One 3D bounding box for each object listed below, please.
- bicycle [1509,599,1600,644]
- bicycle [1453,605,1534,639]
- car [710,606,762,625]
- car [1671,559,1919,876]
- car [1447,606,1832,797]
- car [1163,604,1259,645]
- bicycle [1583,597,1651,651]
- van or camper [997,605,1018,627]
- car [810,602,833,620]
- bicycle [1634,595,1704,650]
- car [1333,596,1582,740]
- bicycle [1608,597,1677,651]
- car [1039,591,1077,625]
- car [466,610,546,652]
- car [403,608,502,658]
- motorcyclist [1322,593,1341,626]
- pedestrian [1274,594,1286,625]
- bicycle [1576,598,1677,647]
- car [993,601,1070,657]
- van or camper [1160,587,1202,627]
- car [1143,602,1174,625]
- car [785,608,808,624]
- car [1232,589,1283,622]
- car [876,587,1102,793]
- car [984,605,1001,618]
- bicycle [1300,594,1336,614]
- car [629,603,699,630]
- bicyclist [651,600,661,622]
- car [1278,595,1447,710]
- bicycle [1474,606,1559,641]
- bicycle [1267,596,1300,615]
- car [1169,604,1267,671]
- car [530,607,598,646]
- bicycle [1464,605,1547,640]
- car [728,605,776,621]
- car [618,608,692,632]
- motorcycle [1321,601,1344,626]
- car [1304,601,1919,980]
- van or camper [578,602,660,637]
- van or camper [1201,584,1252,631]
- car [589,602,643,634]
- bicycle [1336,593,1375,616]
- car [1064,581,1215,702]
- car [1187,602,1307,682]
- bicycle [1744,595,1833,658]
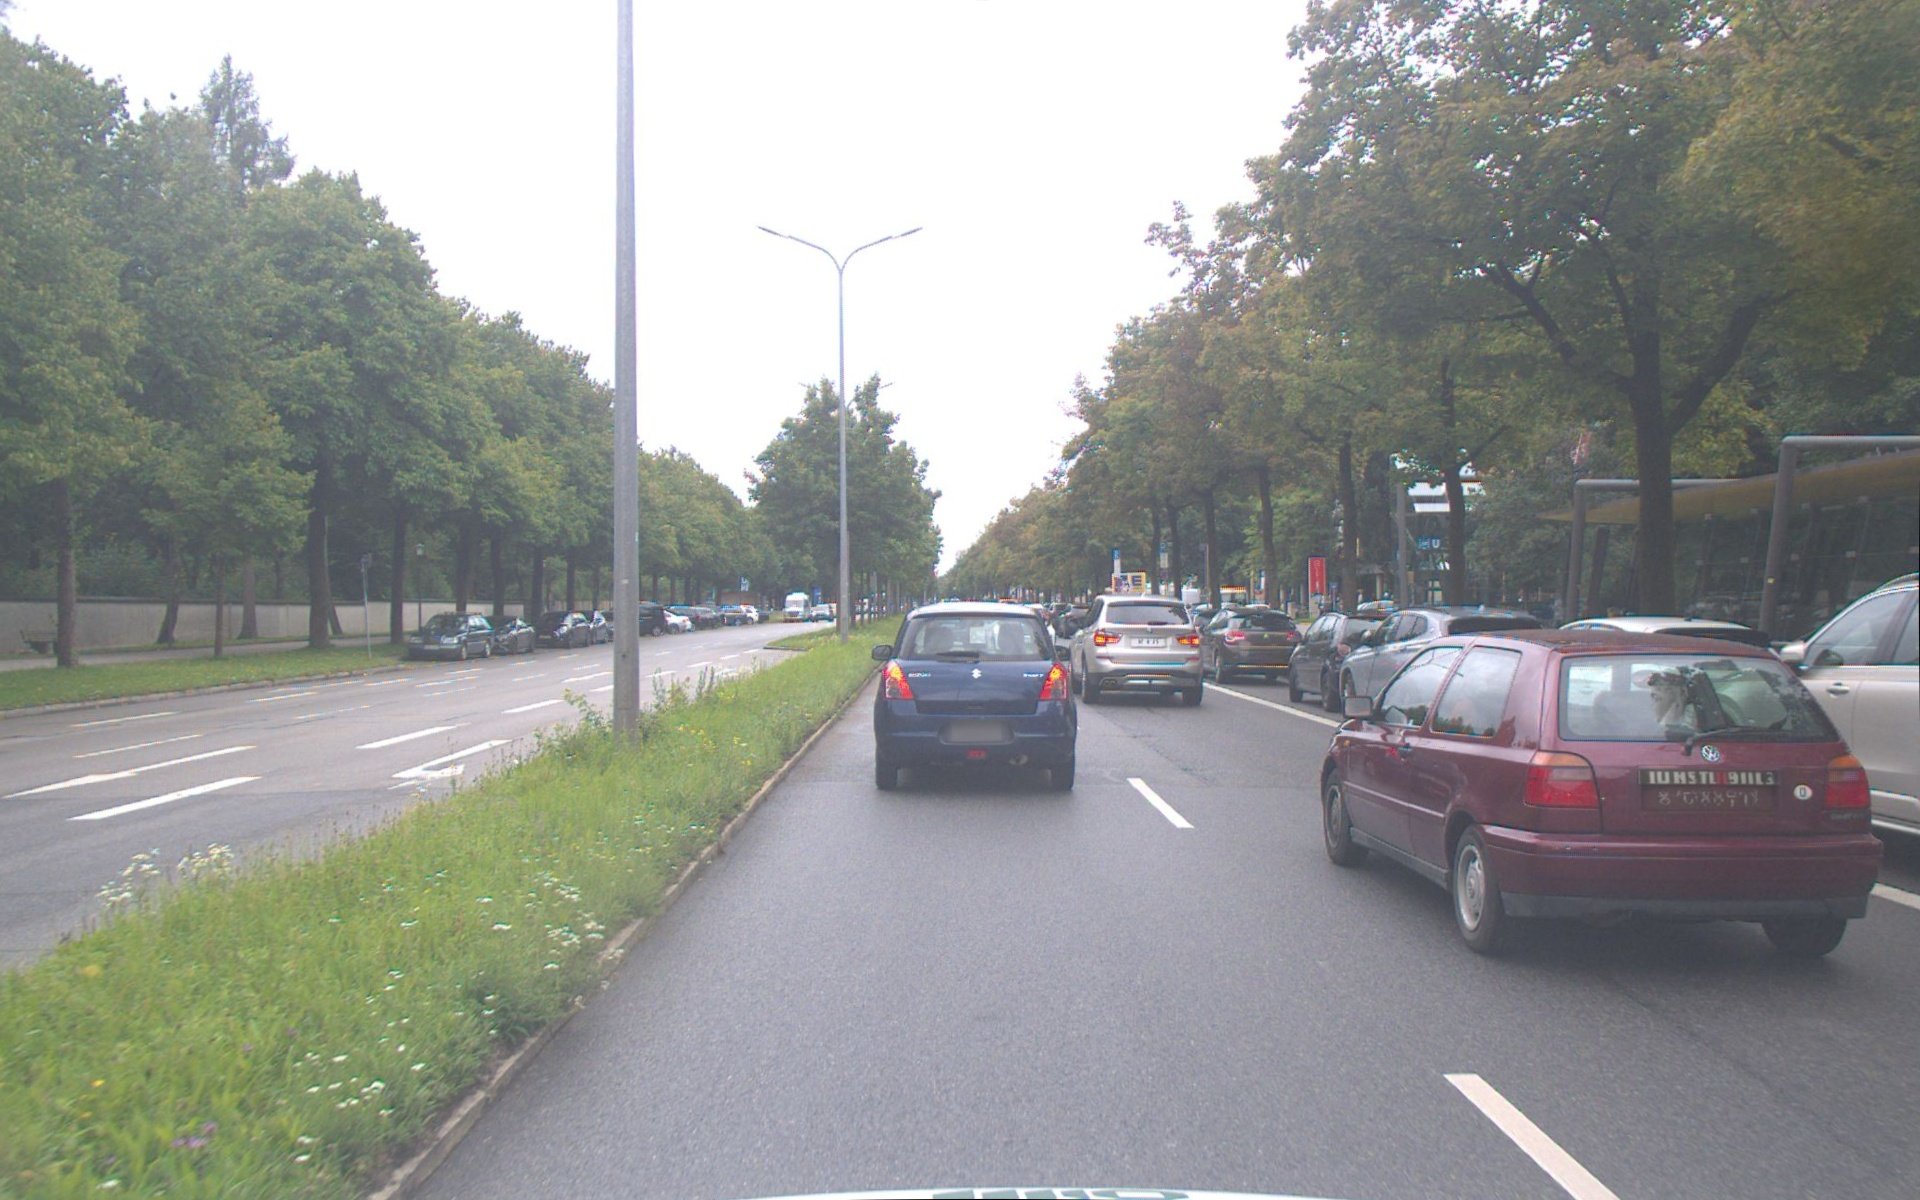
[{"bbox_3d":[17.657,0.626,49.157,2.490,1.303,0.647,0,0,-1],"label":"bicycle"},{"bbox_3d":[17.743,0.743,55.031,2.490,1.108,0.647,0,0,-1],"label":"bicycle"},{"bbox_3d":[-19.258,1.345,142.079,4.059,1.612,1.896,0,0,-34],"label":"car"},{"bbox_3d":[6.167,0.652,9.860,1.712,1.754,4.905,1,0,0],"label":"car"},{"bbox_3d":[6.173,0.828,15.644,1.667,1.534,4.502,0,0,-2],"label":"car"},{"bbox_3d":[10.523,0.989,69.000,1.935,1.653,4.826,-1,-1,37],"label":"car"},{"bbox_3d":[16.303,0.581,41.117,0.632,1.303,2.550,0,0,-1],"label":"bicycle"},{"bbox_3d":[4.464,1.474,155.721,1.905,2.009,4.306,0,0,0],"label":"van or camper"},{"bbox_3d":[-12.636,1.013,150.600,1.874,1.569,4.186,-1,0,-2],"label":"car"},{"bbox_3d":[17.622,0.550,41.176,0.632,1.303,2.550,0,0,-1],"label":"bicycle"},{"bbox_3d":[5.962,0.756,20.374,1.685,1.561,4.398,1,0,-1],"label":"car"},{"bbox_3d":[16.965,0.592,41.151,0.632,1.303,2.550,0,0,-1],"label":"bicycle"},{"bbox_3d":[5.105,0.434,86.516,1.725,1.730,4.819,0,0,0],"label":"car"},{"bbox_3d":[-16.448,1.106,60.083,1.625,1.420,4.706,1,0,-1],"label":"car"},{"bbox_3d":[-16.562,1.034,54.181,1.762,1.516,4.914,1,0,-1],"label":"car"},{"bbox_3d":[20.549,0.524,91.574,0.677,1.767,0.953,-5,0,-1],"label":"motorcyclist"},{"bbox_3d":[18.891,0.560,97.607,0.563,1.782,0.732,0,-1,4],"label":"pedestrian"},{"bbox_3d":[18.118,0.604,44.983,2.490,1.303,0.647,0,0,-1],"label":"bicycle"},{"bbox_3d":[1.927,0.767,45.660,1.813,1.472,4.096,0,0,-2],"label":"car"},{"bbox_3d":[14.993,0.478,112.368,1.983,2.603,5.956,-1,0,0],"label":"van or camper"},{"bbox_3d":[14.855,1.000,123.846,1.650,1.661,4.496,0,0,-2],"label":"car"},{"bbox_3d":[-15.790,1.524,159.726,1.874,1.569,4.186,-1,0,-2],"label":"car"},{"bbox_3d":[15.662,0.276,87.268,1.953,1.680,3.999,-1,0,0],"label":"car"},{"bbox_3d":[0.151,0.705,14.843,1.753,1.583,3.998,0,0,-2],"label":"car"},{"bbox_3d":[3.813,1.323,194.094,1.813,1.472,4.096,0,0,-2],"label":"car"},{"bbox_3d":[27.556,0.327,127.249,2.560,1.534,0.797,-1,0,-7],"label":"bicycle"},{"bbox_3d":[-19.110,1.052,106.764,4.069,1.625,1.891,0,0,-40],"label":"car"},{"bbox_3d":[-24.873,0.898,135.272,0.690,1.777,0.922,0,0,-1],"label":"bicyclist"},{"bbox_3d":[6.132,0.755,25.617,1.511,1.561,4.090,3,0,-1],"label":"car"},{"bbox_3d":[17.750,0.741,52.742,2.490,1.108,0.647,0,0,-1],"label":"bicycle"},{"bbox_3d":[26.609,0.453,136.050,2.560,1.534,0.797,-1,0,-7],"label":"bicycle"},{"bbox_3d":[5.960,0.841,38.631,1.601,1.479,4.077,0,0,-1],"label":"car"},{"bbox_3d":[-16.363,1.062,68.509,1.538,1.529,4.305,1,0,3],"label":"car"},{"bbox_3d":[17.733,0.743,53.812,2.490,1.108,0.647,0,0,-1],"label":"bicycle"},{"bbox_3d":[-18.998,1.189,151.353,4.059,1.500,1.684,1,-1,-34],"label":"car"},{"bbox_3d":[-18.117,1.162,98.261,3.955,1.378,1.828,0,0,-36],"label":"car"},{"bbox_3d":[20.568,0.765,91.316,0.682,1.313,2.066,-5,0,-1],"label":"motorcycle"},{"bbox_3d":[3.015,0.756,8.508,1.589,1.479,3.948,0,0,-1],"label":"car"},{"bbox_3d":[-18.772,1.046,91.194,4.089,1.887,1.822,0,0,-42],"label":"van or camper"},{"bbox_3d":[15.388,0.420,95.720,1.953,2.603,5.956,-1,0,0],"label":"van or camper"},{"bbox_3d":[-16.773,0.853,80.815,1.602,1.464,4.809,1,0,0],"label":"car"},{"bbox_3d":[27.340,0.303,114.423,2.566,1.534,0.795,-1,0,-15],"label":"bicycle"},{"bbox_3d":[2.782,0.621,26.495,1.813,1.773,4.096,0,0,-2],"label":"car"},{"bbox_3d":[5.827,0.813,34.003,1.683,1.535,4.223,0,0,-1],"label":"car"},{"bbox_3d":[17.912,0.559,35.831,0.632,1.303,2.550,0,0,-1],"label":"bicycle"}]
